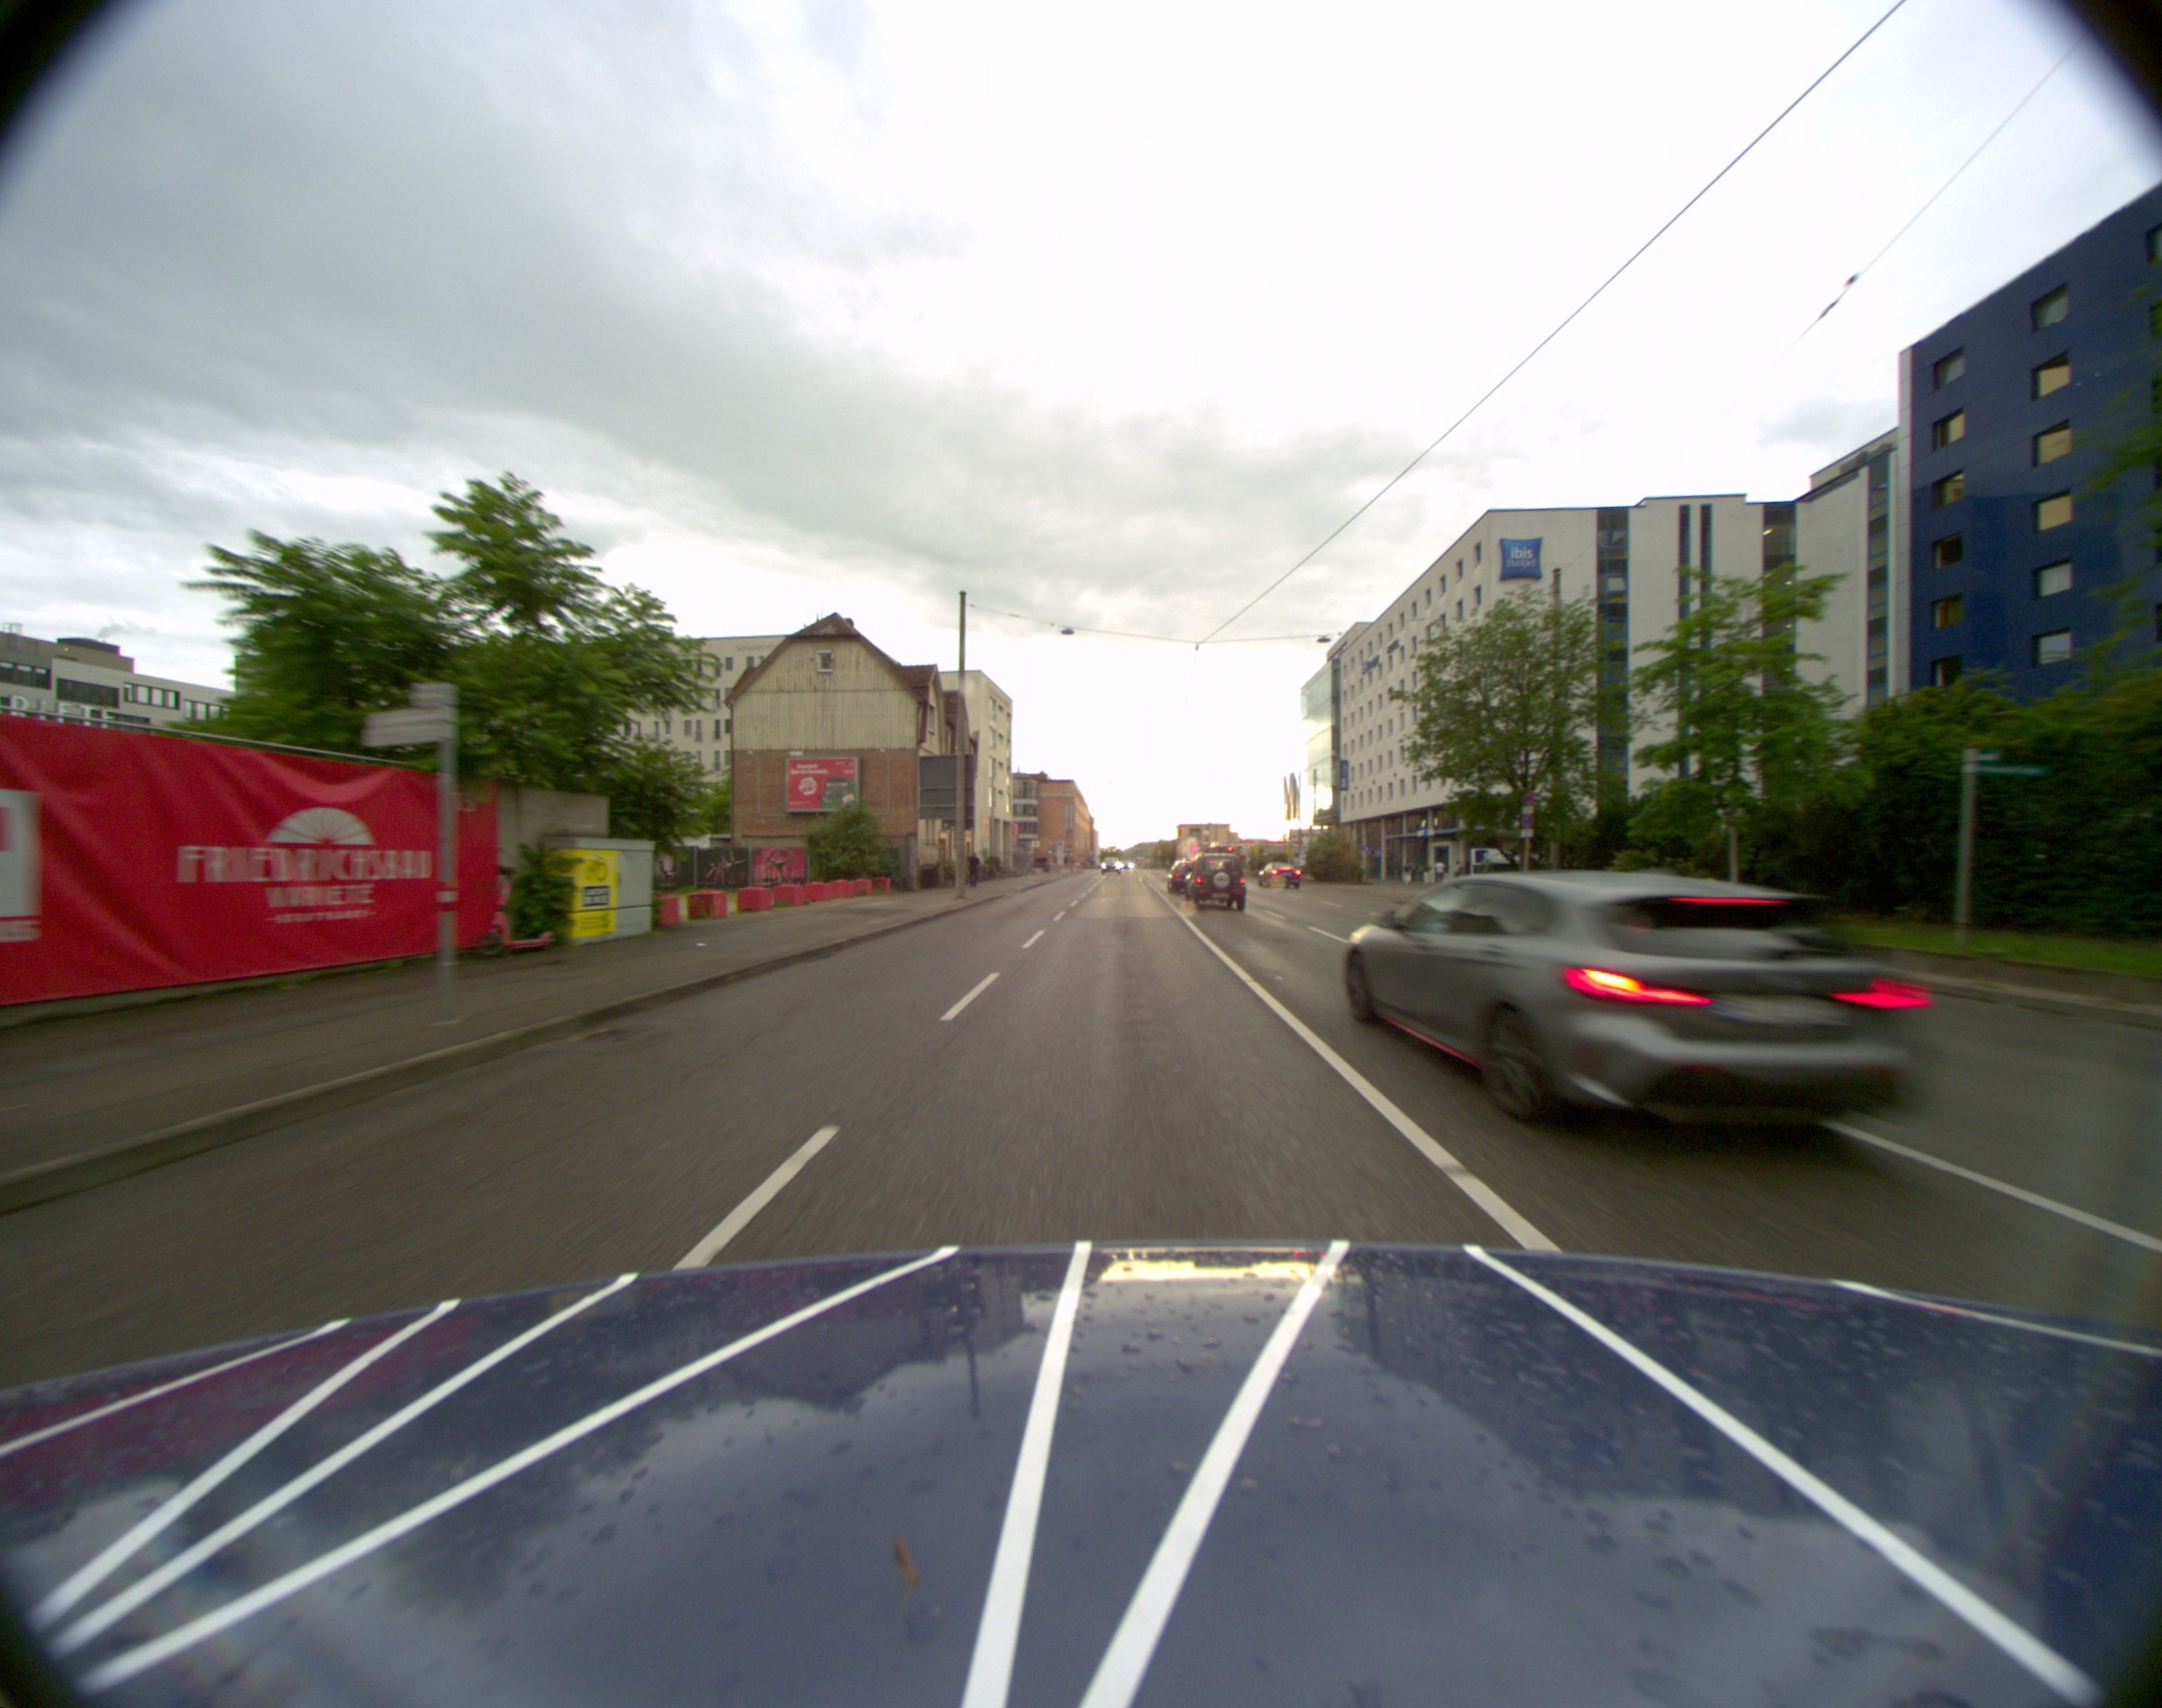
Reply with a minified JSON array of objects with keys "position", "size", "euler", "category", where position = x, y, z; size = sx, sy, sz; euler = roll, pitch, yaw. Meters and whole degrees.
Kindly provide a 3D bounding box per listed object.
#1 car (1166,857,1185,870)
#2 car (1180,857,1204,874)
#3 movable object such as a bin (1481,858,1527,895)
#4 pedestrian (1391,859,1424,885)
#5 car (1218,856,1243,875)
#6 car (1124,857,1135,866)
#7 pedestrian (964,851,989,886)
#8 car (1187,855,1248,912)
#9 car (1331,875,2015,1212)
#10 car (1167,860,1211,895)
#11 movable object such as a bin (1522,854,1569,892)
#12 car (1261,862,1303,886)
[{"position":[10.717,1.105,86.574],"size":[1.821,1.379,4.964],"euler":[1,0,3],"category":"car"},{"position":[10.513,1.099,72.206],"size":[1.760,1.546,4.452],"euler":[2,-1,3],"category":"car"},{"position":[18.187,0.979,32.696],"size":[1.394,1.481,0.951],"euler":[2,-2,-3],"category":"movable object such as a bin"},{"position":[22.000,1.210,51.168],"size":[1.995,1.710,1.698],"euler":[-1,-1,23],"category":"pedestrian"},{"position":[13.580,1.040,69.190],"size":[1.712,1.557,4.036],"euler":[2,-1,4],"category":"car"},{"position":[8.689,1.396,136.468],"size":[1.963,1.516,4.263],"euler":[-1,0,3],"category":"car"},{"position":[-5.327,0.735,38.834],"size":[0.765,1.754,0.915],"euler":[-1,3,31],"category":"pedestrian"},{"position":[4.221,0.899,23.886],"size":[1.506,1.656,3.421],"euler":[0,-1,3],"category":"car"},{"position":[3.308,0.908,5.407],"size":[1.716,1.357,3.999],"euler":[1,1,0],"category":"car"},{"position":[4.814,1.011,34.212],"size":[1.663,1.477,3.821],"euler":[0,0,3],"category":"car"},{"position":[19.510,0.783,31.958],"size":[1.392,1.482,0.952],"euler":[3,2,14],"category":"movable object such as a bin"},{"position":[11.792,1.143,44.818],"size":[1.624,1.316,4.448],"euler":[2,0,5],"category":"car"}]
